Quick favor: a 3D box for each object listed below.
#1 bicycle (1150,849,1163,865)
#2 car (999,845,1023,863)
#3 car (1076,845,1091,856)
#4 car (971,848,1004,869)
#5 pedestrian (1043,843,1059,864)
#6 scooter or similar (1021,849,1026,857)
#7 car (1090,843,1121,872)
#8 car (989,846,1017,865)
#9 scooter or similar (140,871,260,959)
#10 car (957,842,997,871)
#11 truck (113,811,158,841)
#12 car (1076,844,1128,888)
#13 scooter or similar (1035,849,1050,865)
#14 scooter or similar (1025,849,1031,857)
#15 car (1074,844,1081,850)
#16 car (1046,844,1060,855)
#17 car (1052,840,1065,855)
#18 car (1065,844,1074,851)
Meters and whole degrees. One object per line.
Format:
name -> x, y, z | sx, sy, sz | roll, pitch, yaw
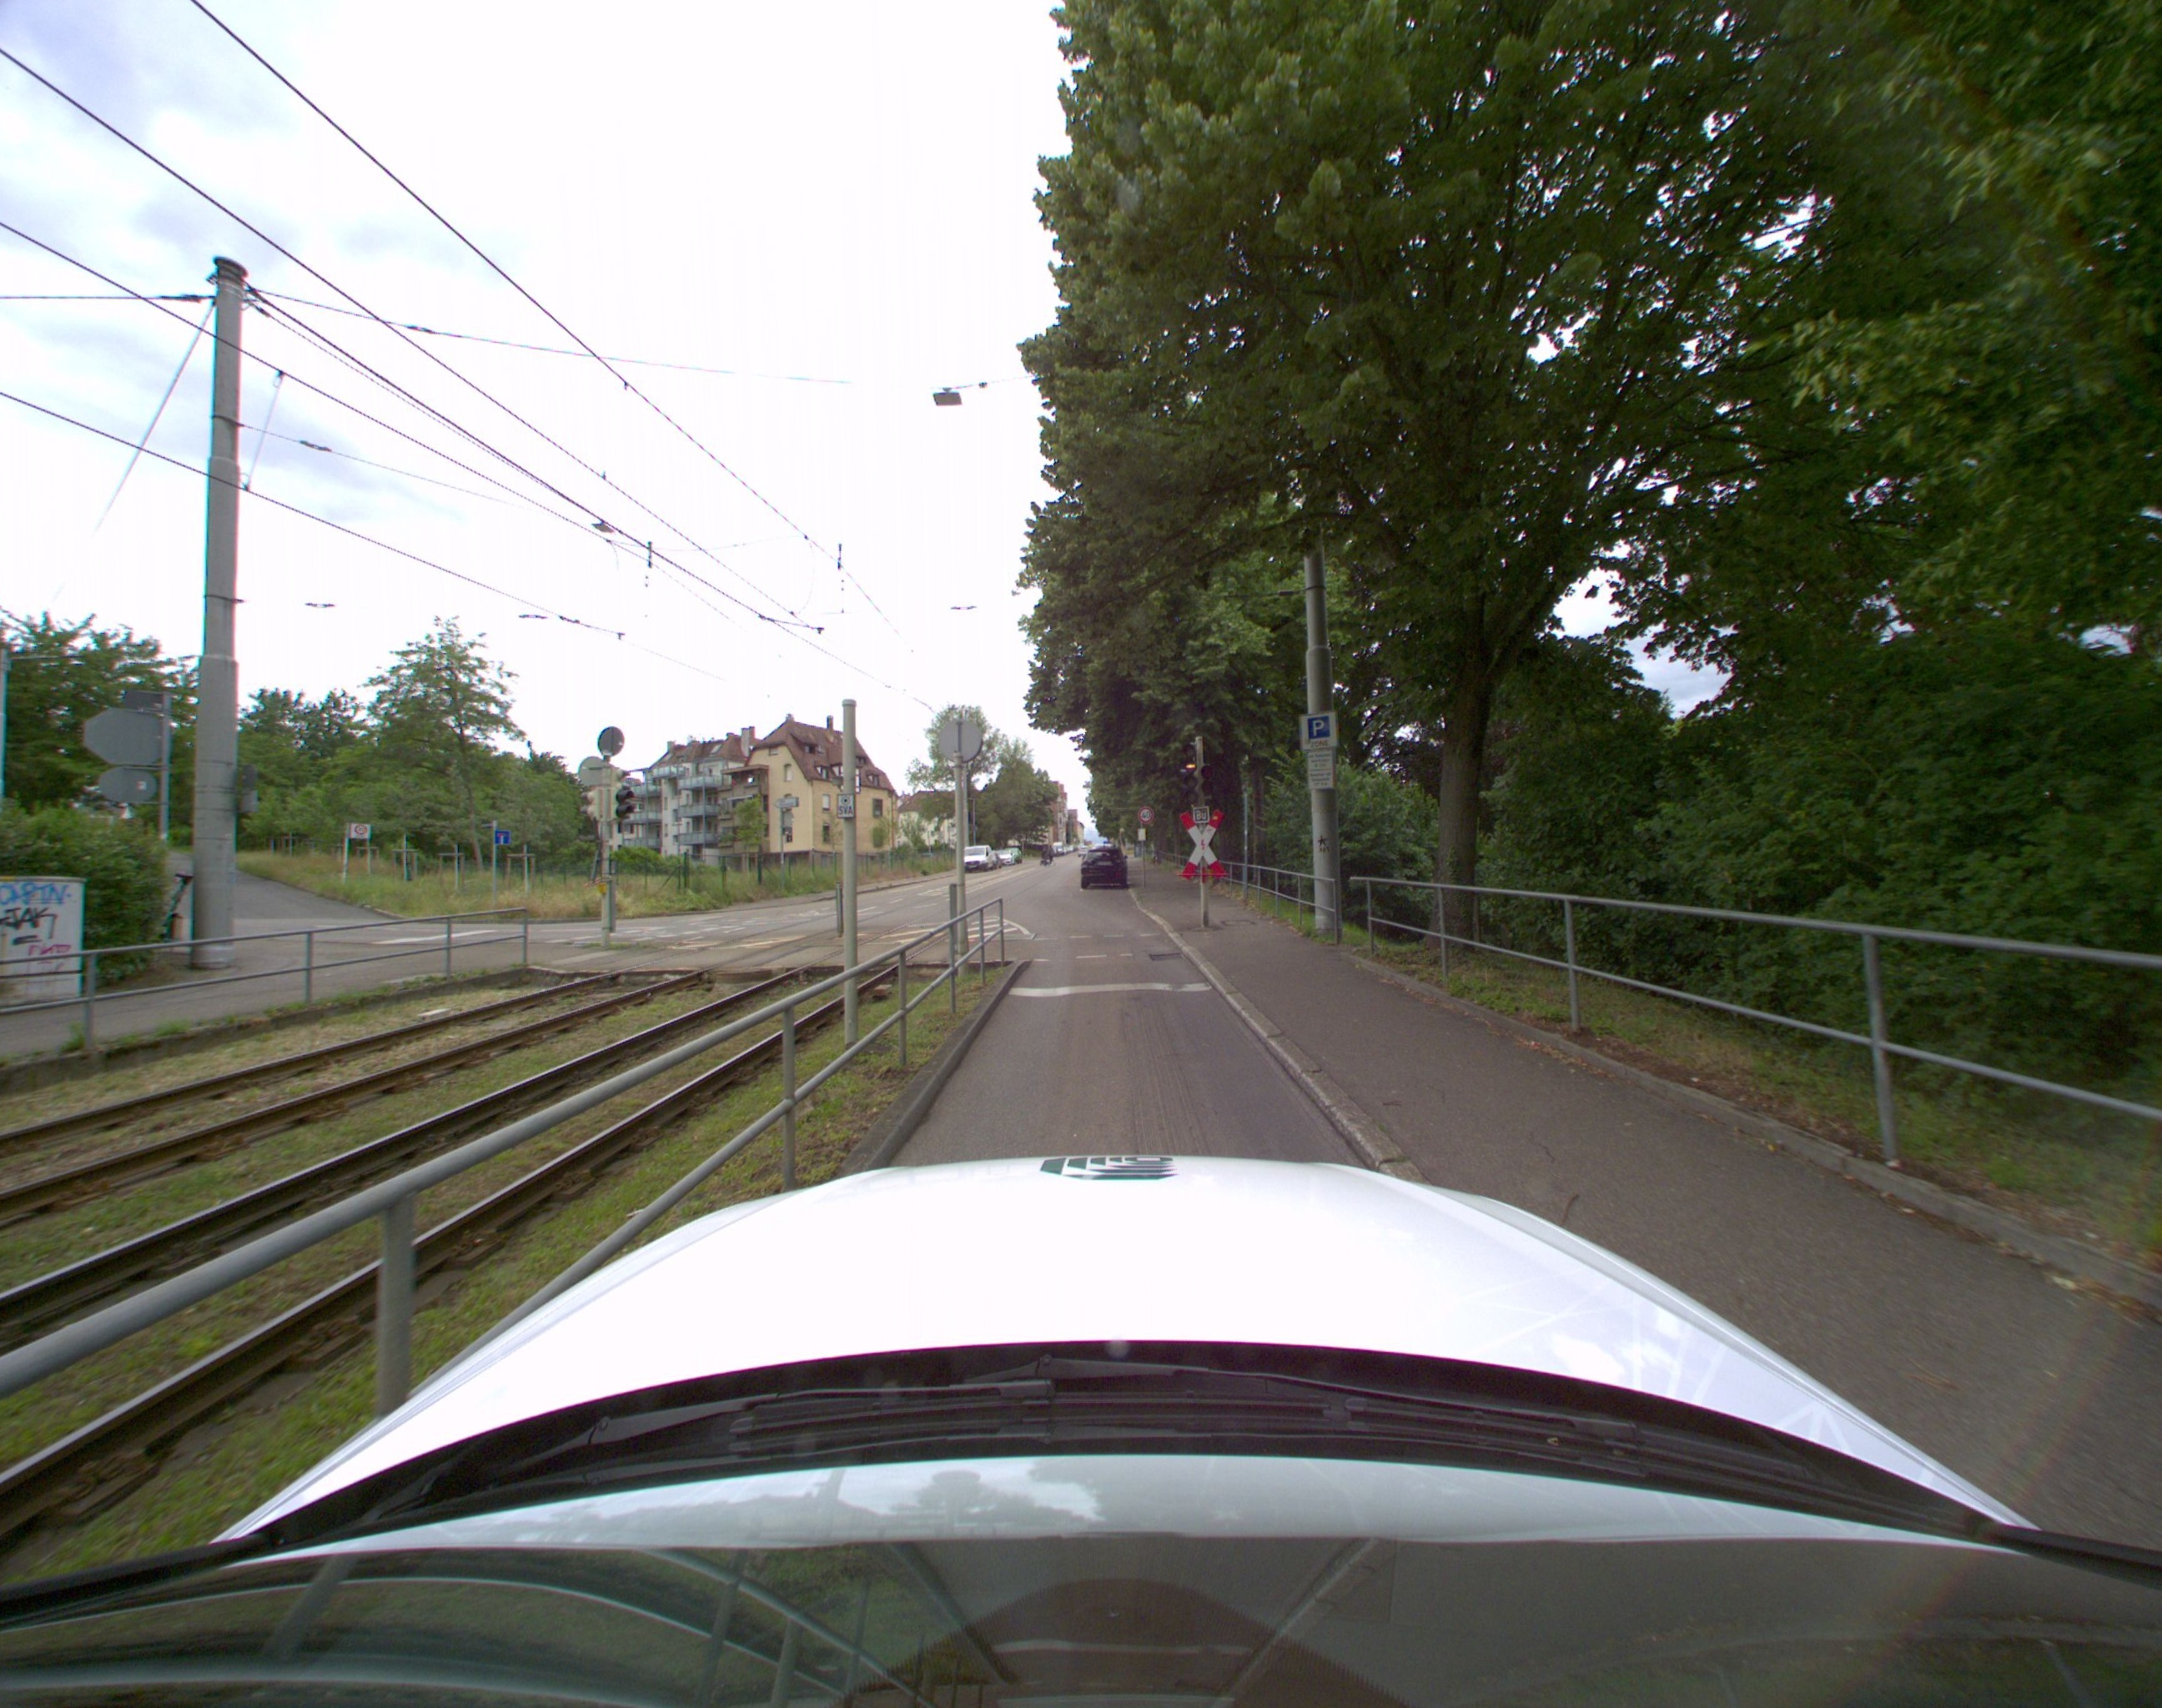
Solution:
bicycle -> 4.765, 0.191, 51.609 | 0.427, 0.976, 1.790 | -1, 0, -8
car -> -6.699, -0.042, 78.457 | 1.716, 1.579, 4.183 | -3, 1, 2
car -> 0.426, -0.477, 116.383 | 1.986, 1.498, 4.314 | -1, 0, 2
car -> -7.344, 0.343, 64.158 | 1.889, 1.432, 4.513 | -3, 1, 2
pedestrian -> -2.378, -0.035, 63.546 | 0.904, 1.628, 0.812 | -1, 0, 39
scooter or similar -> -9.494, -0.195, 134.103 | 0.688, 1.339, 1.640 | -1, 0, 3
car -> 1.425, 0.172, 48.445 | 1.720, 1.631, 4.088 | 2, 1, 0
car -> -6.945, 0.111, 72.873 | 1.878, 1.526, 4.666 | -3, 0, 2
scooter or similar -> -13.885, 0.946, 12.851 | 1.403, 1.289, 0.419 | 3, 0, 2
car -> -7.444, 0.197, 58.816 | 2.029, 1.881, 4.885 | -4, 0, 1
truck -> -127.344, -3.700, 109.664 | 8.093, 3.600, 3.583 | -1, 0, 38
car -> 0.914, 0.432, 32.638 | 1.896, 1.615, 4.604 | 0, 1, 3
scooter or similar -> -3.011, 0.224, 64.093 | 0.828, 1.196, 0.812 | -1, 0, 39
scooter or similar -> -8.706, -0.217, 134.133 | 0.688, 1.339, 1.640 | -1, 0, 3
car -> -0.980, -2.070, 236.964 | 1.986, 1.601, 4.001 | -1, 0, 2
car -> -4.724, -0.775, 139.128 | 1.985, 1.808, 4.003 | -1, 0, 3
car -> -4.304, -1.265, 153.619 | 2.223, 2.764, 5.798 | -1, 0, 0
car -> -2.711, -1.550, 197.449 | 1.916, 1.601, 4.002 | -1, 0, 2
